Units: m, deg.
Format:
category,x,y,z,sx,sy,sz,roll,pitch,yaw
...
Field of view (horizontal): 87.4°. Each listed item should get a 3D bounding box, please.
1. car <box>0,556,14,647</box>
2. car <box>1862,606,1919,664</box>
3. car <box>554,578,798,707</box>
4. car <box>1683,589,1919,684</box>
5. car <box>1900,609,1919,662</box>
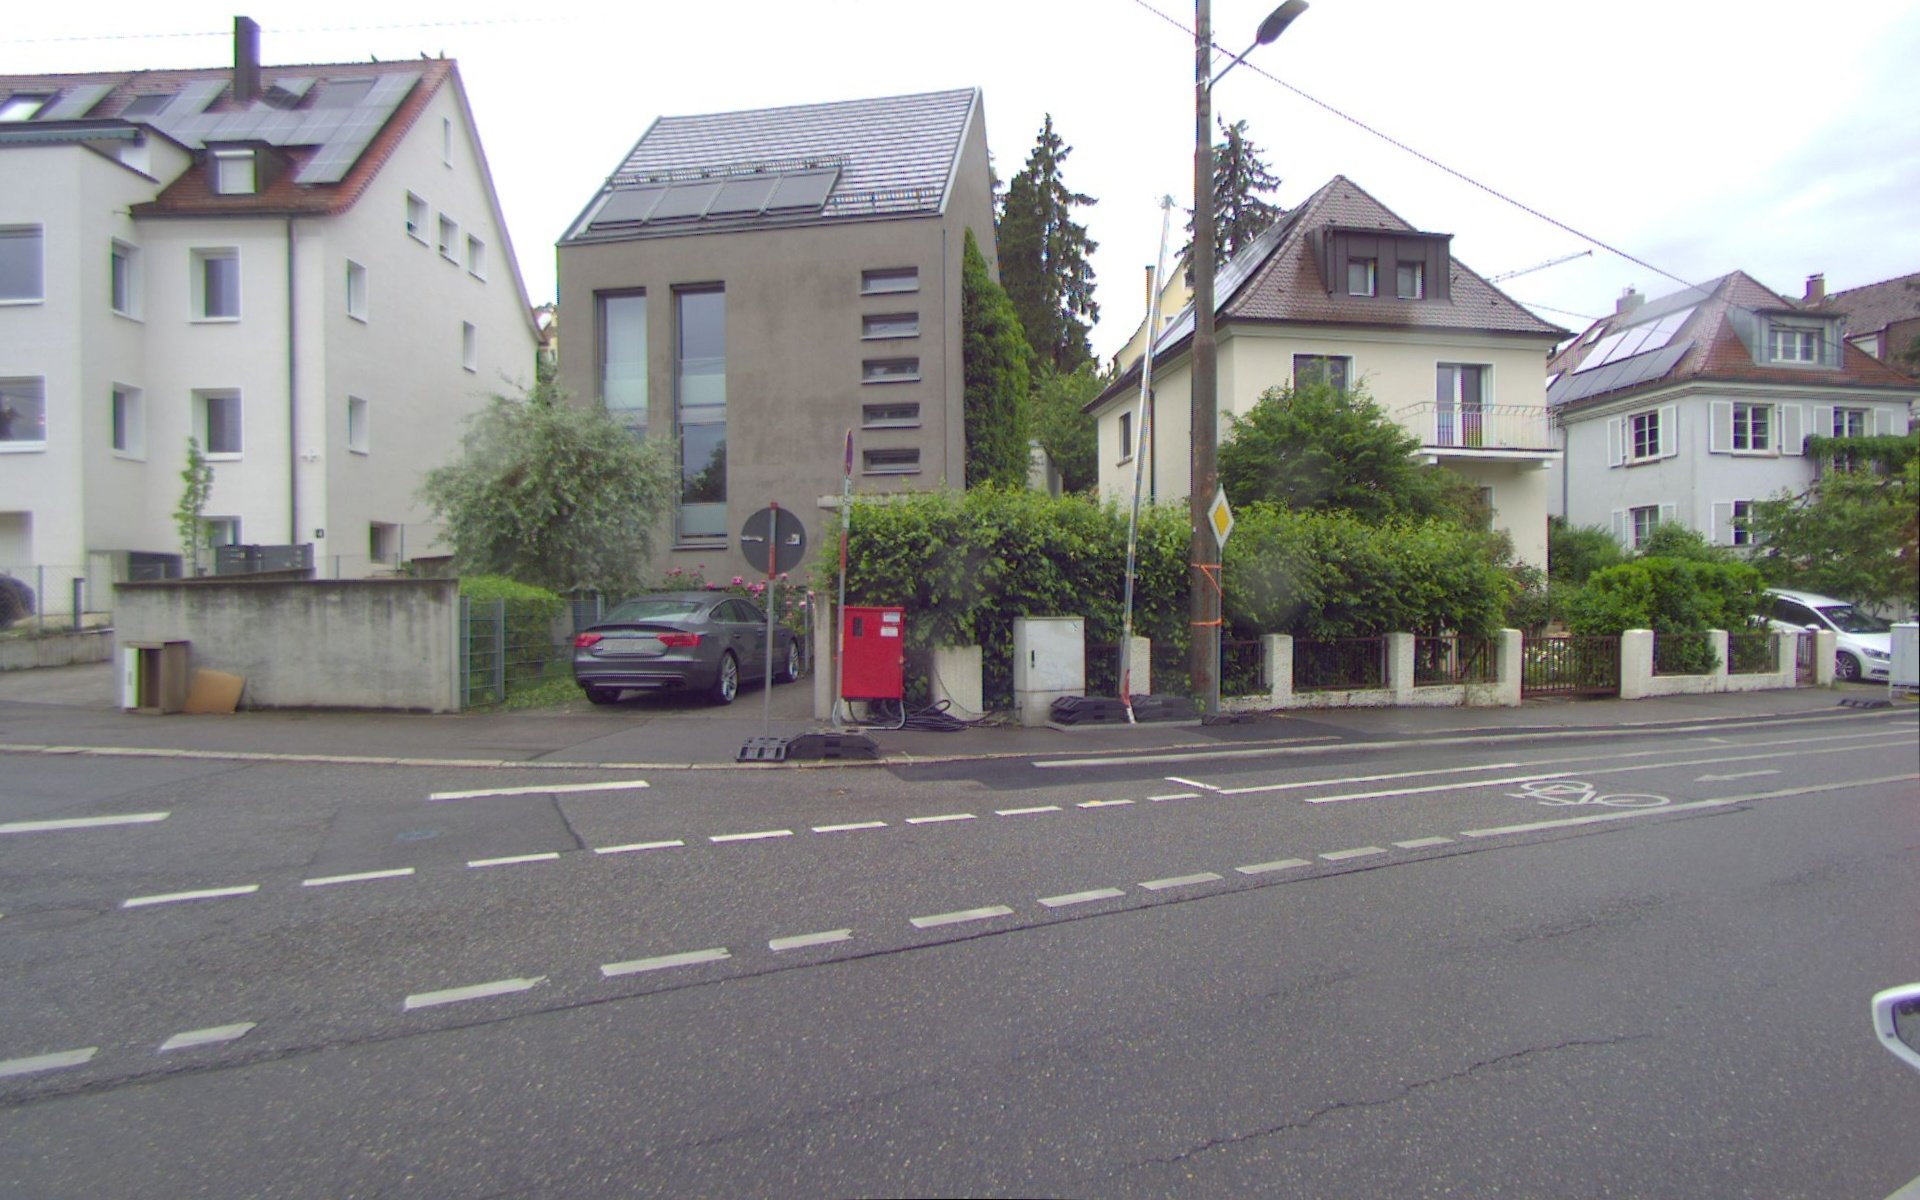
category,x,y,z,sx,sy,sz,roll,pitch,yaw
car,-16.895,0.005,15.046,1.700,1.528,3.820,1,0,3
car,26.530,1.003,26.288,1.733,1.505,3.983,3,0,-19
car,-3.611,0.493,13.573,1.802,1.463,4.002,1,0,6
car,19.616,0.793,23.595,1.801,2.040,3.984,1,0,-18
car,28.446,1.074,27.208,1.733,1.505,3.983,3,0,-19
